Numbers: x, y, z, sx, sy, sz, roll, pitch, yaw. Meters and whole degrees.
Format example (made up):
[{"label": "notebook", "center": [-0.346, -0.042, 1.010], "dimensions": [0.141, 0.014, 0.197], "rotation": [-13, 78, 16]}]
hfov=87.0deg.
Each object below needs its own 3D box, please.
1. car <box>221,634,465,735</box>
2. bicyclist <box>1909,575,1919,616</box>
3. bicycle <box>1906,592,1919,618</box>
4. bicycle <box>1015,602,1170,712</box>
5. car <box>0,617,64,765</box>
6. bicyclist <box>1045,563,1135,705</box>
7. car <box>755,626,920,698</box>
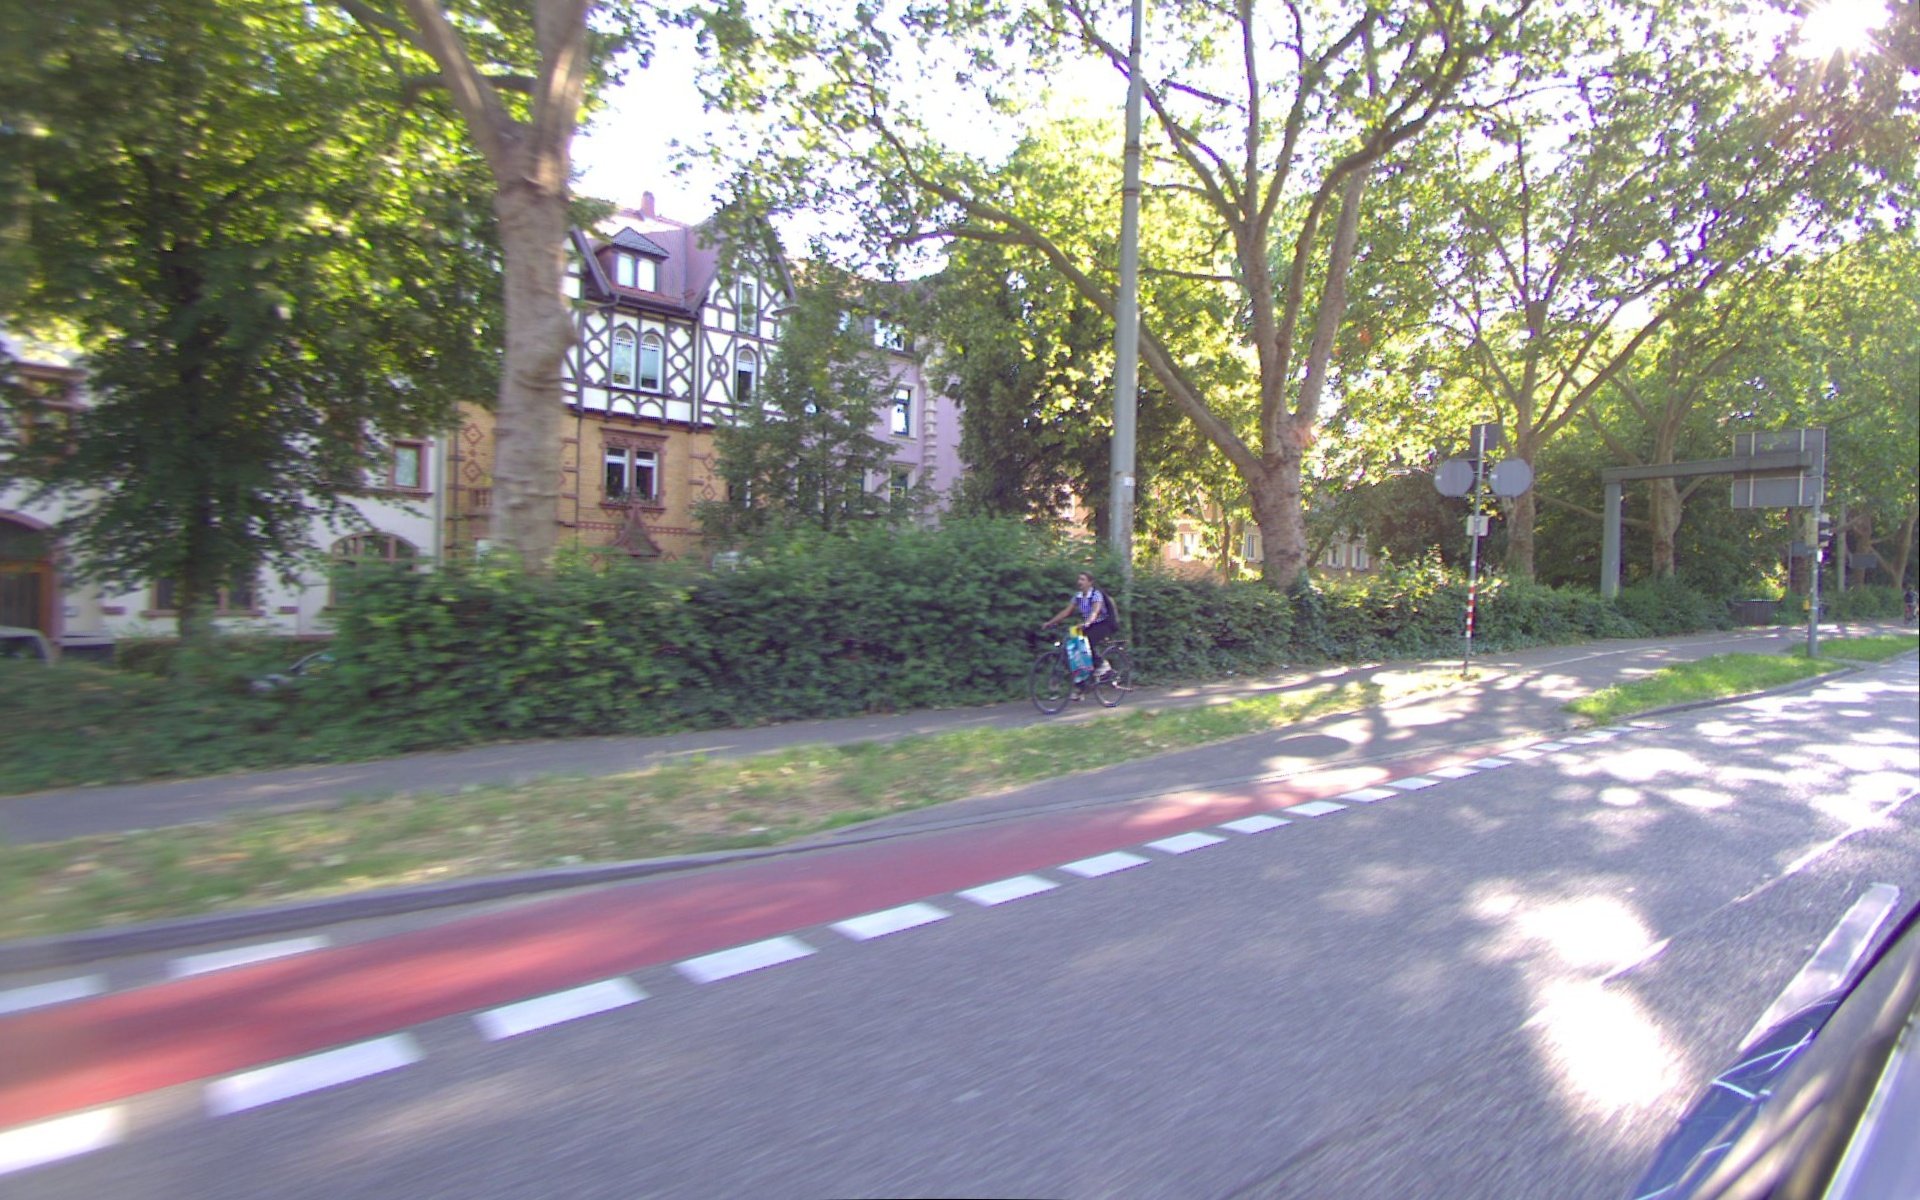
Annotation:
[{"label": "car", "center": [-11.385, 1.500, 18.723], "dimensions": [3.871, 1.470, 1.680], "rotation": [2, 1, 16]}, {"label": "bicyclist", "center": [41.749, -0.177, 43.837], "dimensions": [1.059, 1.750, 0.702], "rotation": [1, 1, -33]}, {"label": "bicycle", "center": [41.779, 0.227, 43.862], "dimensions": [1.892, 1.121, 0.702], "rotation": [0, 1, -33]}, {"label": "bicycle", "center": [1.523, 0.598, 11.501], "dimensions": [1.769, 1.121, 0.767], "rotation": [0, 1, -41]}, {"label": "car", "center": [-15.697, 1.231, 14.746], "dimensions": [4.620, 1.990, 1.862], "rotation": [2, 1, 18]}, {"label": "bicyclist", "center": [1.464, 0.354, 11.433], "dimensions": [0.639, 1.532, 0.767], "rotation": [0, 1, -41]}, {"label": "car", "center": [-3.210, 1.590, 26.700], "dimensions": [3.947, 1.529, 1.790], "rotation": [2, 1, 18]}]
